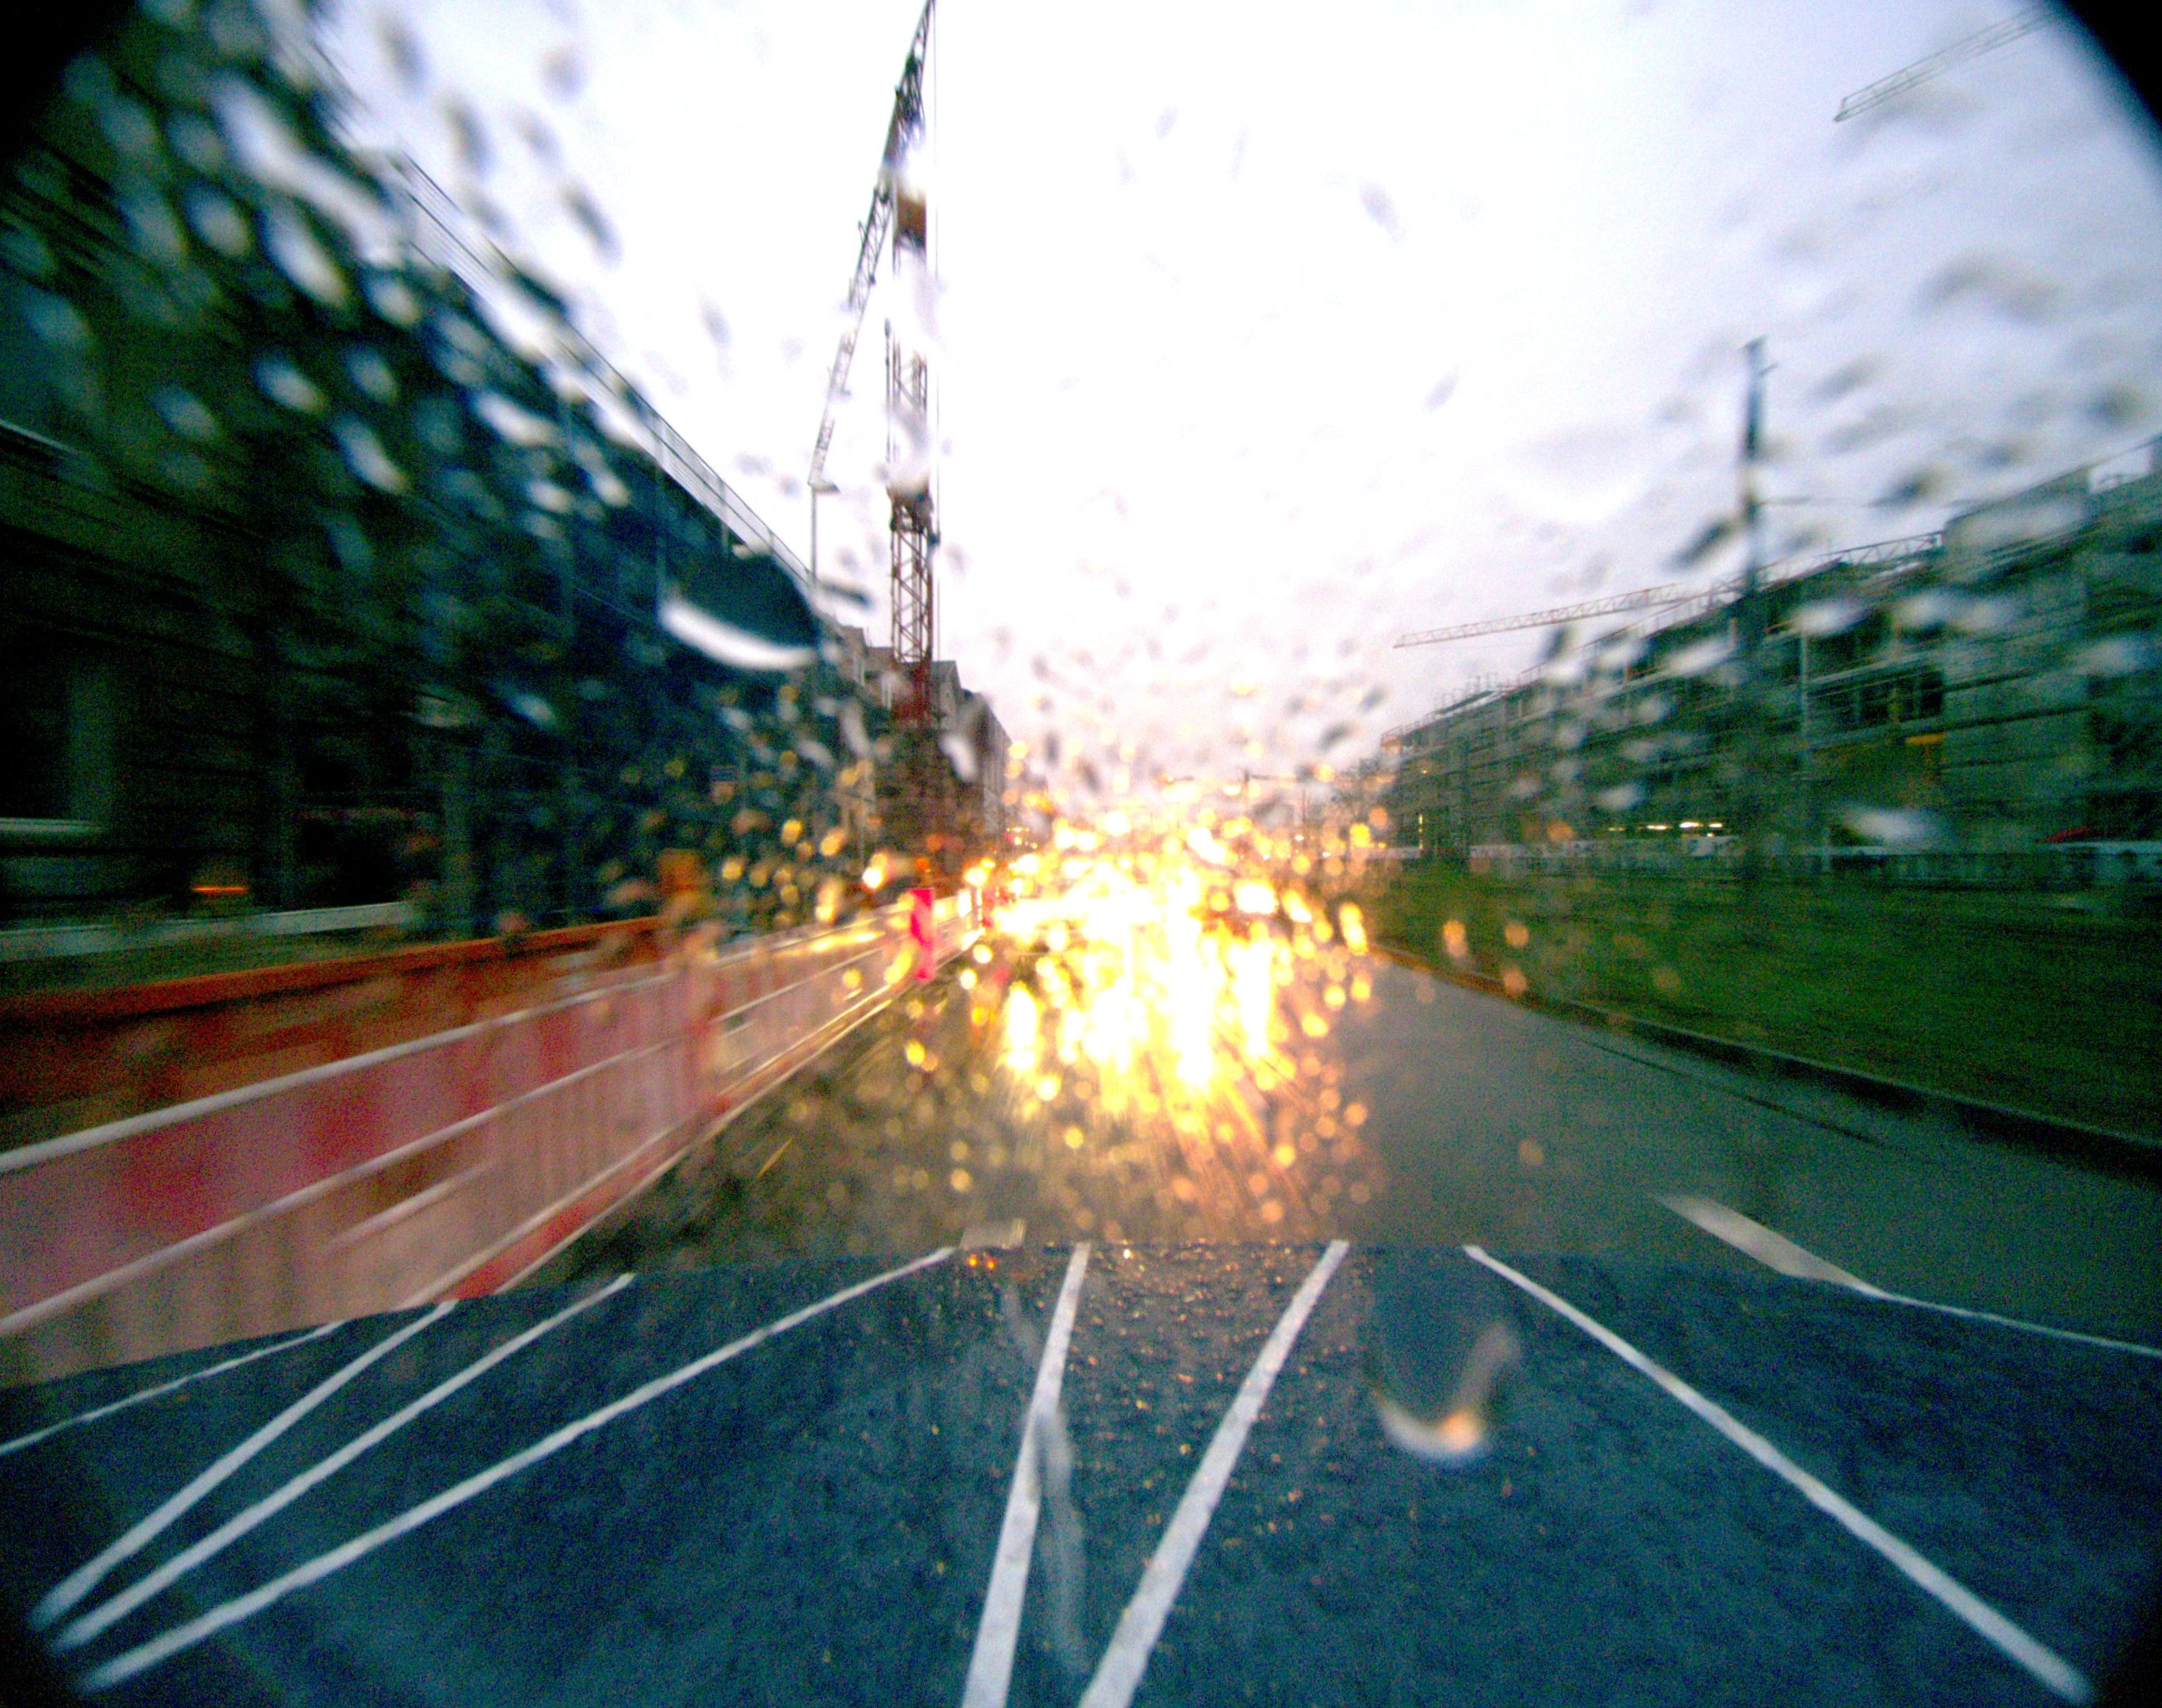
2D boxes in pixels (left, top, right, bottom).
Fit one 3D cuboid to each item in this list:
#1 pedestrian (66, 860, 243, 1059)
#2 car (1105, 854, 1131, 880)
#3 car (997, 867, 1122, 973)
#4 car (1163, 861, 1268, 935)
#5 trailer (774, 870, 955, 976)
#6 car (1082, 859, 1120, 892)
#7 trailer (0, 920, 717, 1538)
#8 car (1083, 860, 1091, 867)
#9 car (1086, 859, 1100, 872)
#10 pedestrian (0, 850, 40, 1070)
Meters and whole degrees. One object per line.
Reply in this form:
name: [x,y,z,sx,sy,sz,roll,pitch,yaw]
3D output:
pedestrian: [-7.980,0.872,6.575,0.712,1.612,0.650,1,0,1]
car: [2.819,0.960,58.028,1.865,1.867,4.000,-1,0,2]
car: [-0.230,1.011,13.287,1.813,1.464,4.139,-1,0,2]
car: [2.970,0.912,17.586,1.809,1.444,4.005,-2,0,2]
trailer: [-3.636,1.081,13.782,1.839,1.481,4.847,0,0,1]
car: [1.148,1.161,42.327,1.998,1.673,4.000,-1,0,2]
trailer: [-3.607,1.151,3.778,1.855,1.338,3.528,0,0,1]
car: [1.322,2.169,173.870,1.867,1.652,3.987,-1,0,1]
car: [1.642,1.568,103.896,1.867,1.652,3.987,-1,0,1]
pedestrian: [-8.682,0.815,5.734,0.643,1.700,0.727,1,0,1]
